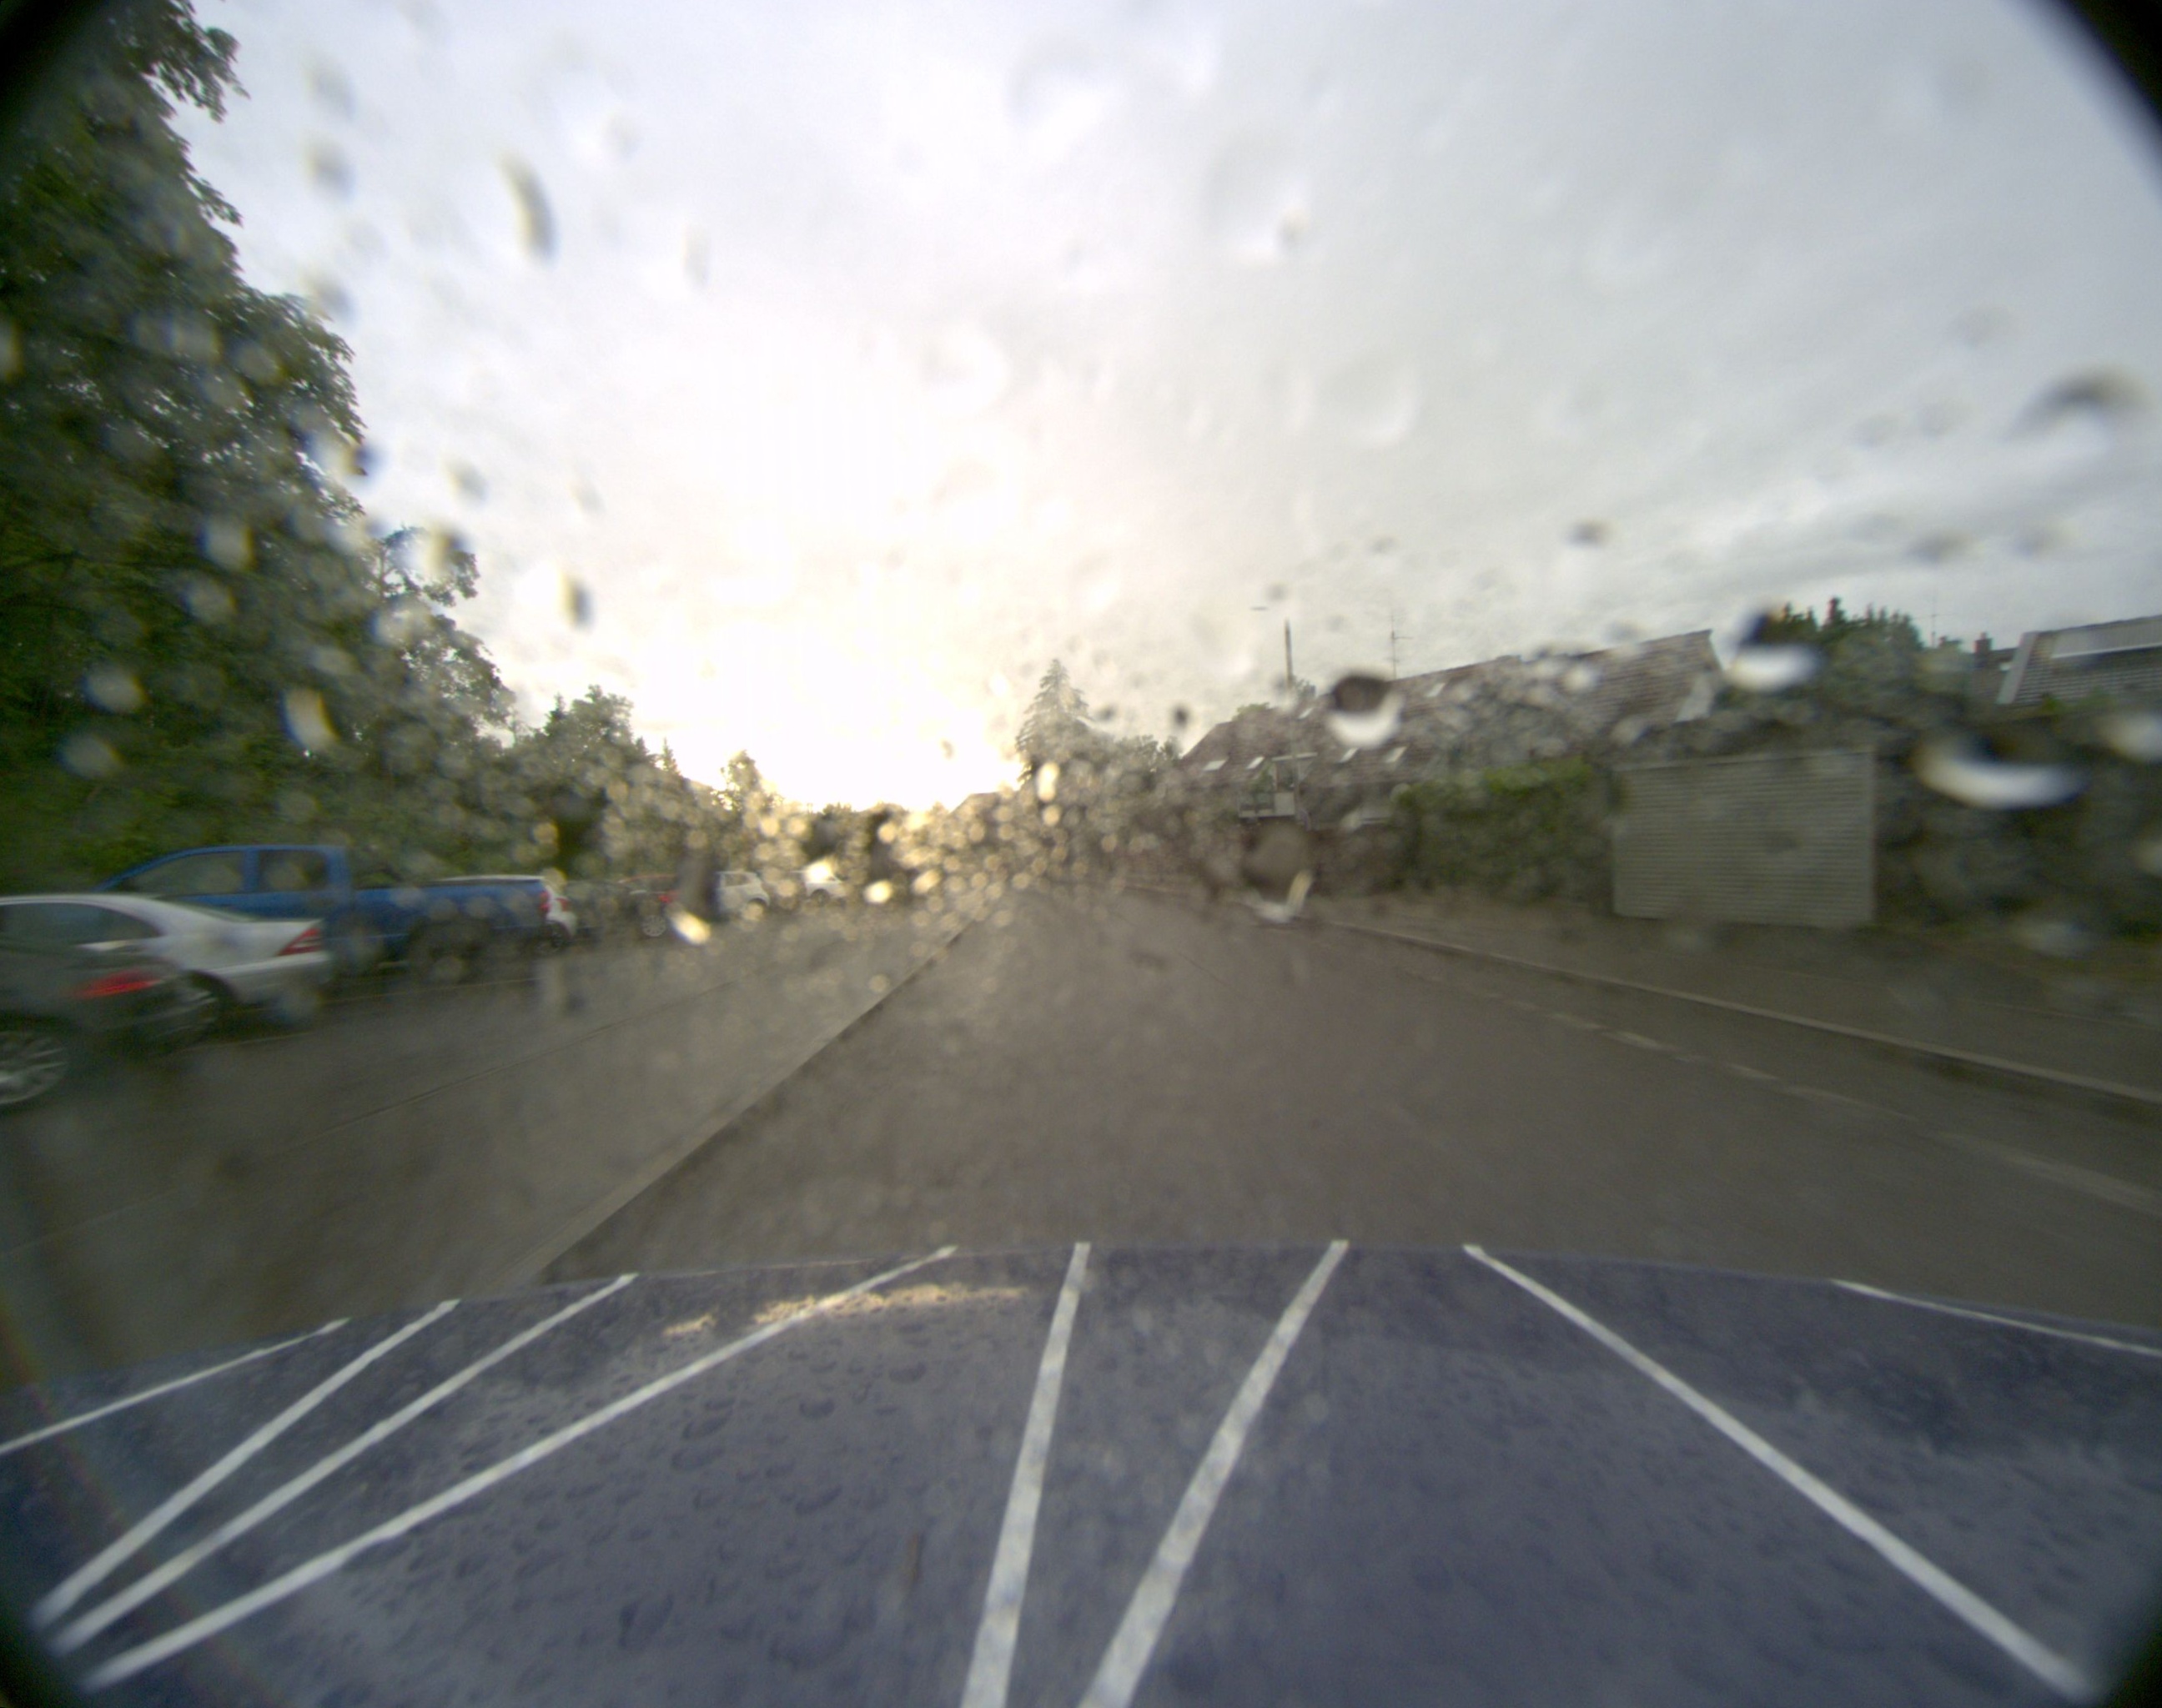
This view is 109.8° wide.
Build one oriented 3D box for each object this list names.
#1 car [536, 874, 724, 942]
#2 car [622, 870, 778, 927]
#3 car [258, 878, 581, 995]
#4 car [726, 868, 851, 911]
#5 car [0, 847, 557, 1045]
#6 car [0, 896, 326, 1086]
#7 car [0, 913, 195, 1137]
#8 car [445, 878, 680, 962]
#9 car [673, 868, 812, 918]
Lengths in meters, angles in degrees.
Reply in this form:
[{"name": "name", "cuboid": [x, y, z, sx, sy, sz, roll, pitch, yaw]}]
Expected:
[{"name": "car", "cuboid": [-11.488, 1.310, 19.492, 3.802, 1.393, 1.713, -2, 1, -44]}, {"name": "car", "cuboid": [-11.474, 1.293, 23.046, 1.747, 1.471, 3.803, -2, 0, 41]}, {"name": "car", "cuboid": [-11.018, 1.252, 12.908, 1.614, 1.478, 3.920, -2, 1, 44]}, {"name": "car", "cuboid": [-11.622, 1.372, 30.301, 4.323, 1.455, 1.808, -2, 0, -34]}, {"name": "car", "cuboid": [-10.471, 0.970, 10.027, 5.492, 1.957, 2.325, -2, 0, -44]}, {"name": "car", "cuboid": [-9.561, 1.224, 6.716, 1.622, 1.404, 4.002, -2, 1, 44]}, {"name": "car", "cuboid": [-8.469, 1.214, 4.645, 3.803, 1.341, 1.757, -2, 1, -45]}, {"name": "car", "cuboid": [-10.982, 1.306, 16.266, 3.850, 1.393, 1.713, -2, 1, -45]}, {"name": "car", "cuboid": [-11.824, 1.325, 26.707, 4.099, 1.498, 1.747, -1, 0, -43]}]
